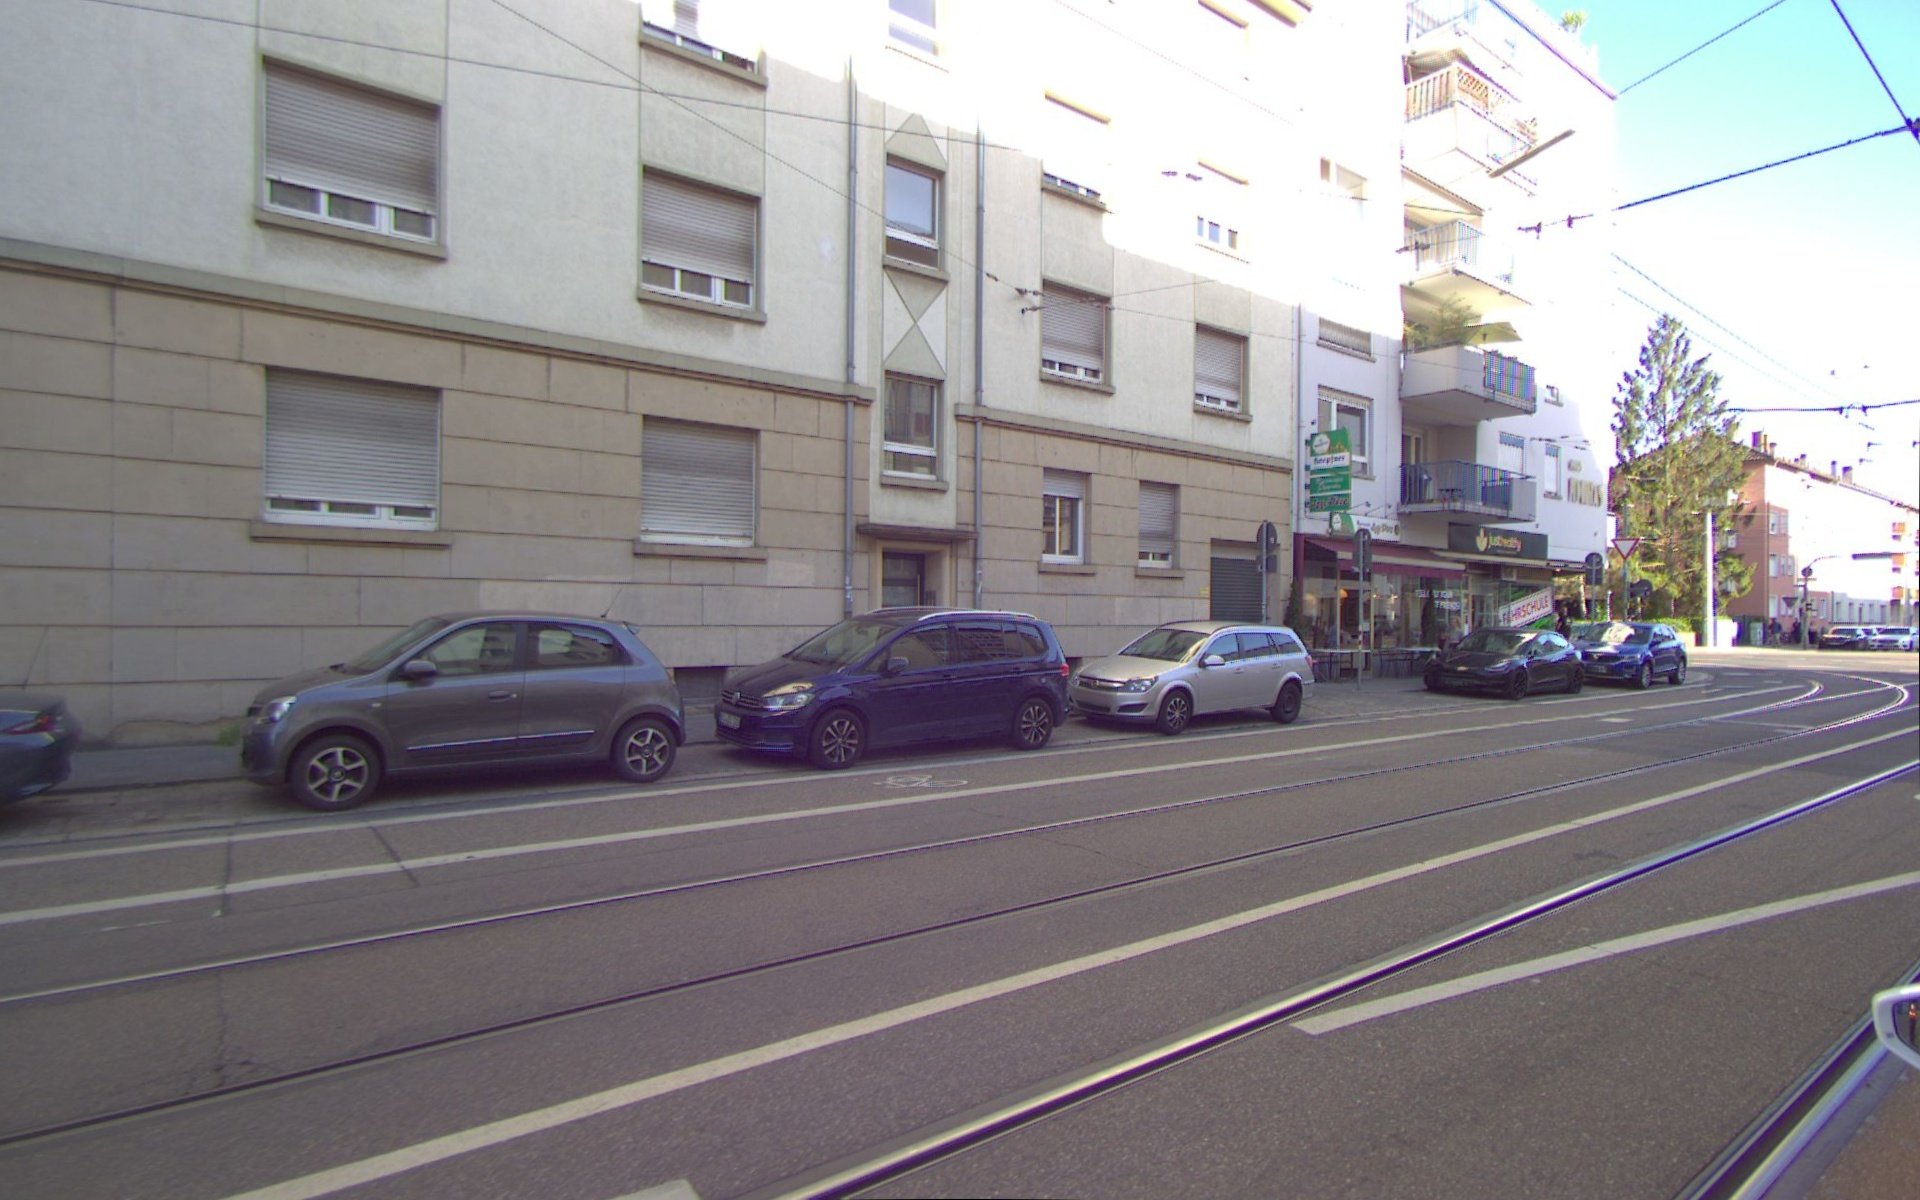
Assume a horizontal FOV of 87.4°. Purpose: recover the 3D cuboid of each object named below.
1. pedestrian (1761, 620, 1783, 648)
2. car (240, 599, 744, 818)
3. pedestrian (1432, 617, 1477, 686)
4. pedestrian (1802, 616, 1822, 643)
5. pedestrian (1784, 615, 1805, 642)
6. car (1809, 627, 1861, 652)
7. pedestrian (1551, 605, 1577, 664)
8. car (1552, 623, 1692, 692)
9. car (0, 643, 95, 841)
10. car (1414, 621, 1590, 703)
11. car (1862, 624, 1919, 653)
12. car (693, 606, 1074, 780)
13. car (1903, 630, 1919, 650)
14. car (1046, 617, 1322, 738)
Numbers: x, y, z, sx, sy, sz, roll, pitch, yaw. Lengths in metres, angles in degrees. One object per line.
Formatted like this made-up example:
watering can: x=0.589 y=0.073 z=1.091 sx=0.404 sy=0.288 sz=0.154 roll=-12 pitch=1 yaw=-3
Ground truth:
pedestrian: x=50.130 y=2.089 z=62.004 sx=0.729 sy=1.713 sz=0.839 roll=1 pitch=0 yaw=-31
car: x=-4.217 y=0.858 z=9.321 sx=3.963 sy=1.590 sz=1.687 roll=2 pitch=0 yaw=-37
pedestrian: x=11.589 y=1.194 z=23.532 sx=0.714 sy=1.569 sz=0.693 roll=0 pitch=0 yaw=-34
pedestrian: x=55.183 y=1.885 z=65.063 sx=0.729 sy=1.713 sz=0.839 roll=1 pitch=0 yaw=-31
pedestrian: x=54.619 y=1.875 z=65.735 sx=0.729 sy=1.713 sz=0.839 roll=1 pitch=0 yaw=-31
car: x=54.577 y=2.441 z=62.629 sx=3.967 sy=1.452 sz=1.895 roll=1 pitch=-1 yaw=-40
pedestrian: x=21.097 y=1.189 z=35.089 sx=0.482 sy=2.040 sz=0.681 roll=1 pitch=0 yaw=-40
car: x=16.526 y=1.388 z=25.019 sx=3.965 sy=1.529 sz=1.731 roll=2 pitch=0 yaw=-38
car: x=-8.069 y=0.933 z=6.404 sx=3.753 sy=1.232 sz=1.686 roll=2 pitch=0 yaw=-39
car: x=11.678 y=1.277 z=21.551 sx=4.272 sy=1.529 sz=1.687 roll=2 pitch=0 yaw=-37
car: x=55.282 y=2.258 z=59.555 sx=4.359 sy=1.595 sz=1.837 roll=1 pitch=-1 yaw=-37
car: x=-0.766 y=0.962 z=11.727 sx=4.207 sy=1.637 sz=1.686 roll=2 pitch=0 yaw=-39
car: x=77.150 y=3.182 z=80.369 sx=3.965 sy=1.517 sz=1.896 roll=1 pitch=-1 yaw=-38
car: x=3.480 y=1.095 z=15.207 sx=4.347 sy=1.529 sz=1.686 roll=2 pitch=0 yaw=-38
